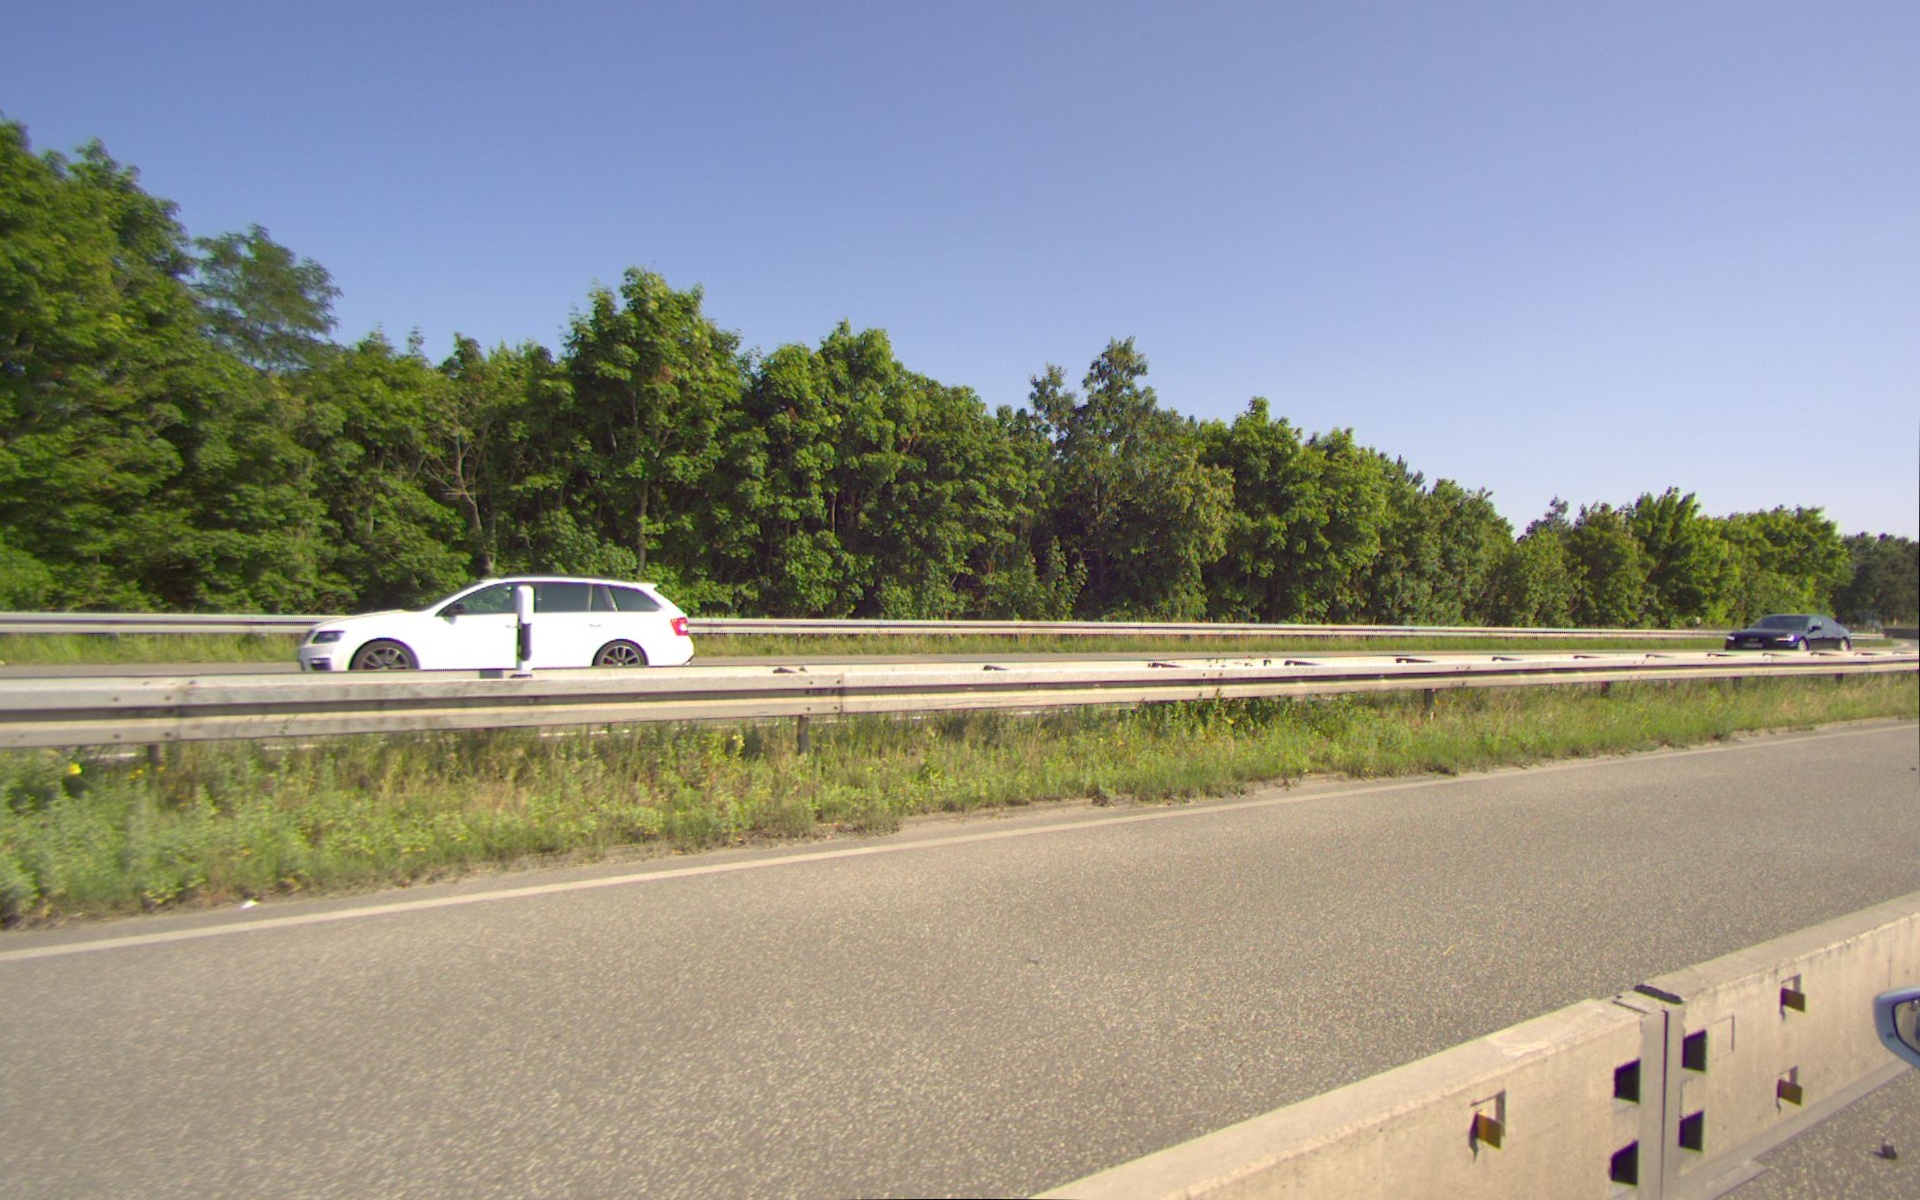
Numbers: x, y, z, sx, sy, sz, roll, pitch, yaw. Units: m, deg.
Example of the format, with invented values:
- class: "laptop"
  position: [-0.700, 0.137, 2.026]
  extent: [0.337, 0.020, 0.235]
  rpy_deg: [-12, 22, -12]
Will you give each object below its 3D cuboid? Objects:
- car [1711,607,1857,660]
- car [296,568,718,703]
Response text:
- class: "car"
  position: [26.048, 1.042, 31.722]
  extent: [4.961, 1.508, 1.808]
  rpy_deg: [1, 2, -29]
- class: "car"
  position: [-5.750, 0.413, 13.102]
  extent: [4.740, 1.490, 1.750]
  rpy_deg: [1, 2, -31]
